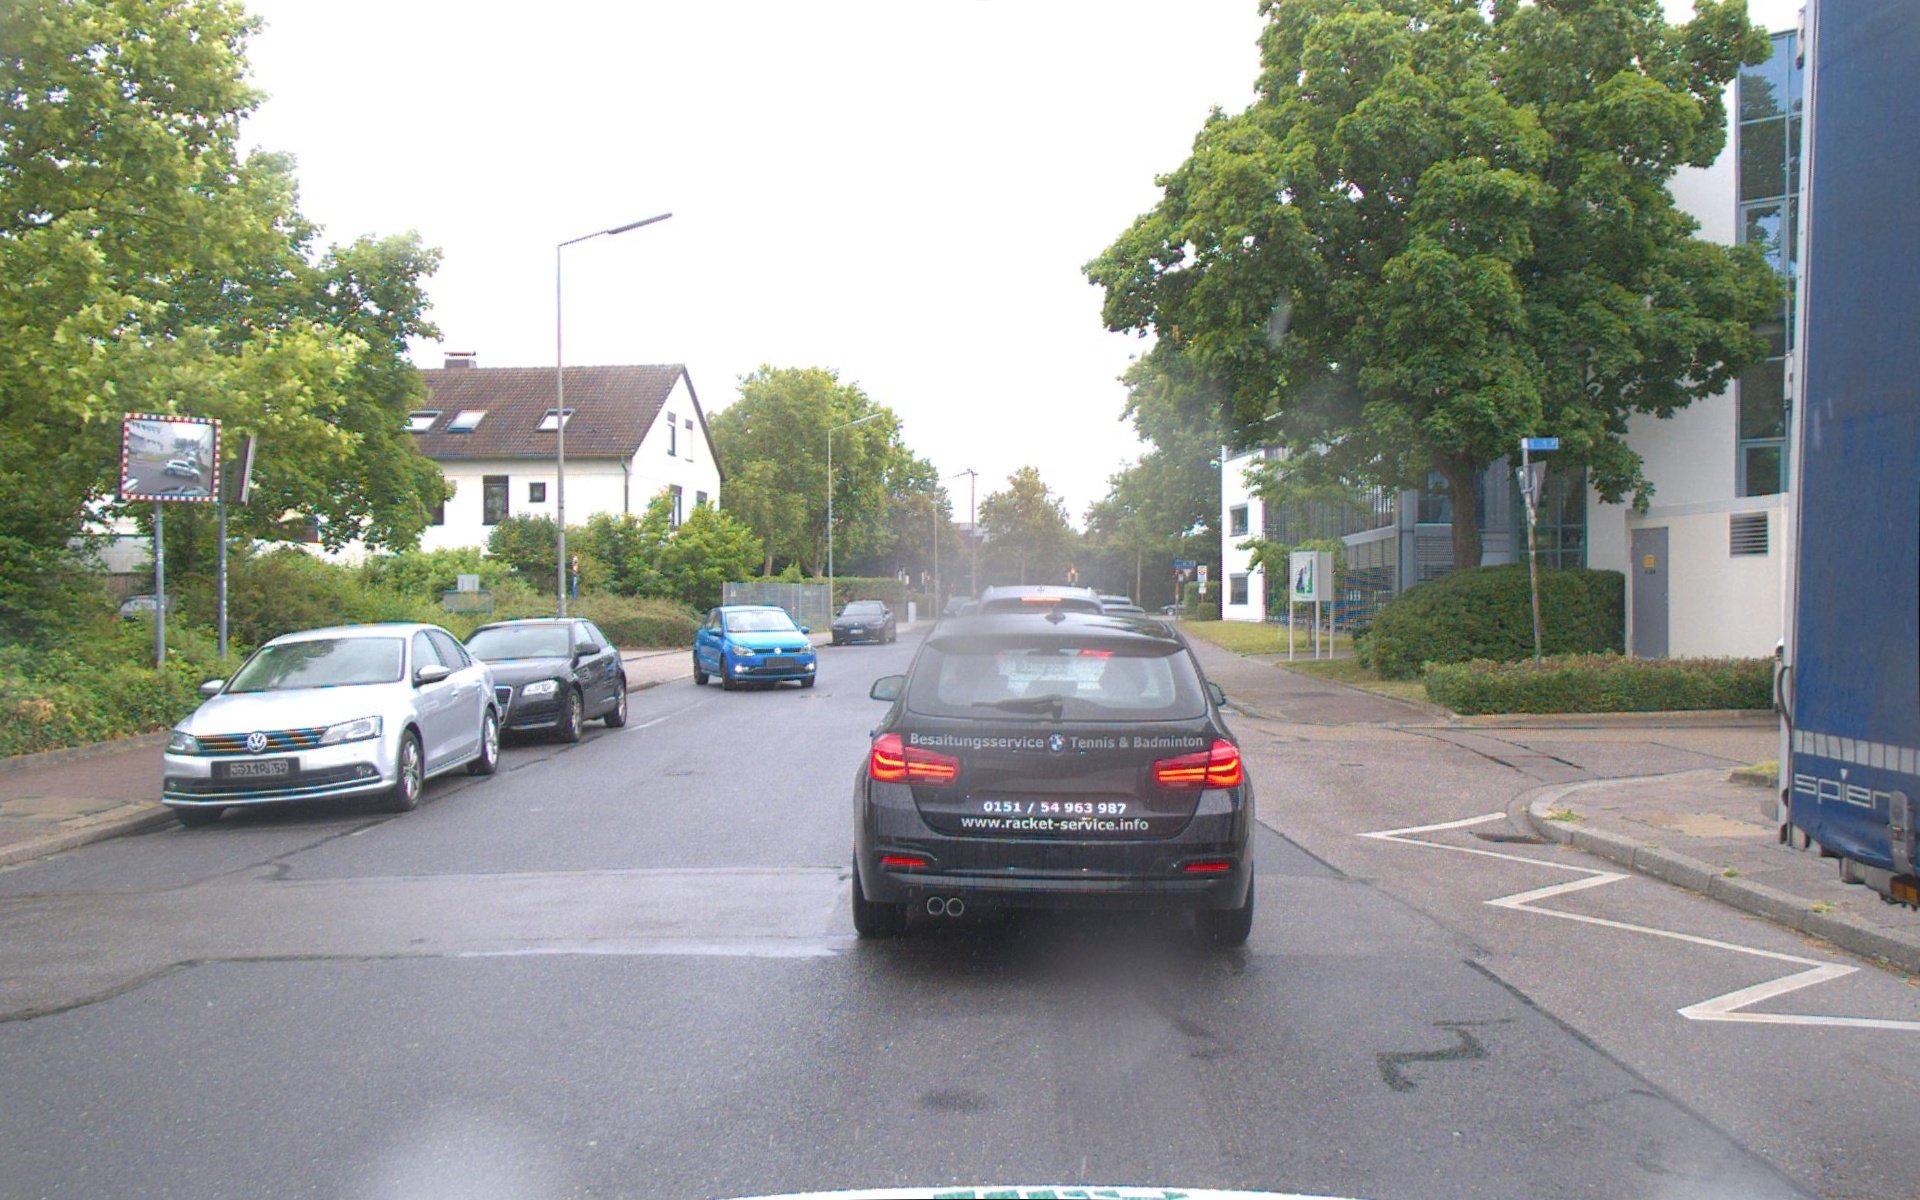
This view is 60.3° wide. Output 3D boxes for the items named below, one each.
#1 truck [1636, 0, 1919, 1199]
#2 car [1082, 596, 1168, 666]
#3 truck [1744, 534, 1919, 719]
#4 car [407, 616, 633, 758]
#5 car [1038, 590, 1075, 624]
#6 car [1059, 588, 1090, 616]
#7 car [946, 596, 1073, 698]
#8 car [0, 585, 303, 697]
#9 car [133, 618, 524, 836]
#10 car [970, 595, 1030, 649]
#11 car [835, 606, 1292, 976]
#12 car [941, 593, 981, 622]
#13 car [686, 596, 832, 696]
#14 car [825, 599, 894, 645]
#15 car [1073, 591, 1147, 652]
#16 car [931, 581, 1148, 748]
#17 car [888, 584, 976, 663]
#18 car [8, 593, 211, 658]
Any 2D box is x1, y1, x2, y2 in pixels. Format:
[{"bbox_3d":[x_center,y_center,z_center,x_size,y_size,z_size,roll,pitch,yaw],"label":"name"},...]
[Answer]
[{"bbox_3d":[3.272,-0.305,0.482,2.686,3.674,7.747,2,0,-2],"label":"truck"},{"bbox_3d":[4.010,0.740,40.711,1.767,1.614,4.000,0,0,1],"label":"car"},{"bbox_3d":[13.667,0.297,20.726,6.786,2.177,2.093,0,0,-4],"label":"truck"},{"bbox_3d":[-5.098,0.951,19.653,1.671,1.391,3.837,-3,0,-1],"label":"car"},{"bbox_3d":[4.770,0.320,81.618,1.766,1.614,4.002,0,0,3],"label":"car"},{"bbox_3d":[6.880,0.109,99.809,1.766,1.614,4.002,0,0,3],"label":"car"},{"bbox_3d":[0.780,0.768,28.401,1.769,1.614,3.996,1,0,-4],"label":"car"},{"bbox_3d":[-11.987,0.576,24.314,3.908,1.567,1.909,0,0,-4],"label":"car"},{"bbox_3d":[-5.067,0.921,14.001,1.671,1.391,4.599,-3,0,-3],"label":"car"},{"bbox_3d":[1.303,0.692,52.672,1.766,1.614,4.001,0,0,3],"label":"car"},{"bbox_3d":[0.332,0.756,8.405,1.768,1.419,3.998,0,0,-2],"label":"car"},{"bbox_3d":[0.093,0.372,88.401,1.669,1.391,3.841,-3,0,6],"label":"car"},{"bbox_3d":[-3.711,0.801,30.021,1.682,1.622,3.813,-3,0,-21],"label":"car"},{"bbox_3d":[-3.398,0.731,56.339,1.669,1.391,3.841,-3,0,6],"label":"car"},{"bbox_3d":[4.145,0.578,46.186,1.767,1.614,4.000,0,0,1],"label":"car"},{"bbox_3d":[0.751,0.648,18.162,1.770,1.614,3.994,1,0,-6],"label":"car"},{"bbox_3d":[-0.551,0.496,36.210,1.767,1.614,4.000,0,0,1],"label":"car"},{"bbox_3d":[-20.725,0.599,40.431,3.906,1.526,1.999,0,0,-2],"label":"car"}]
